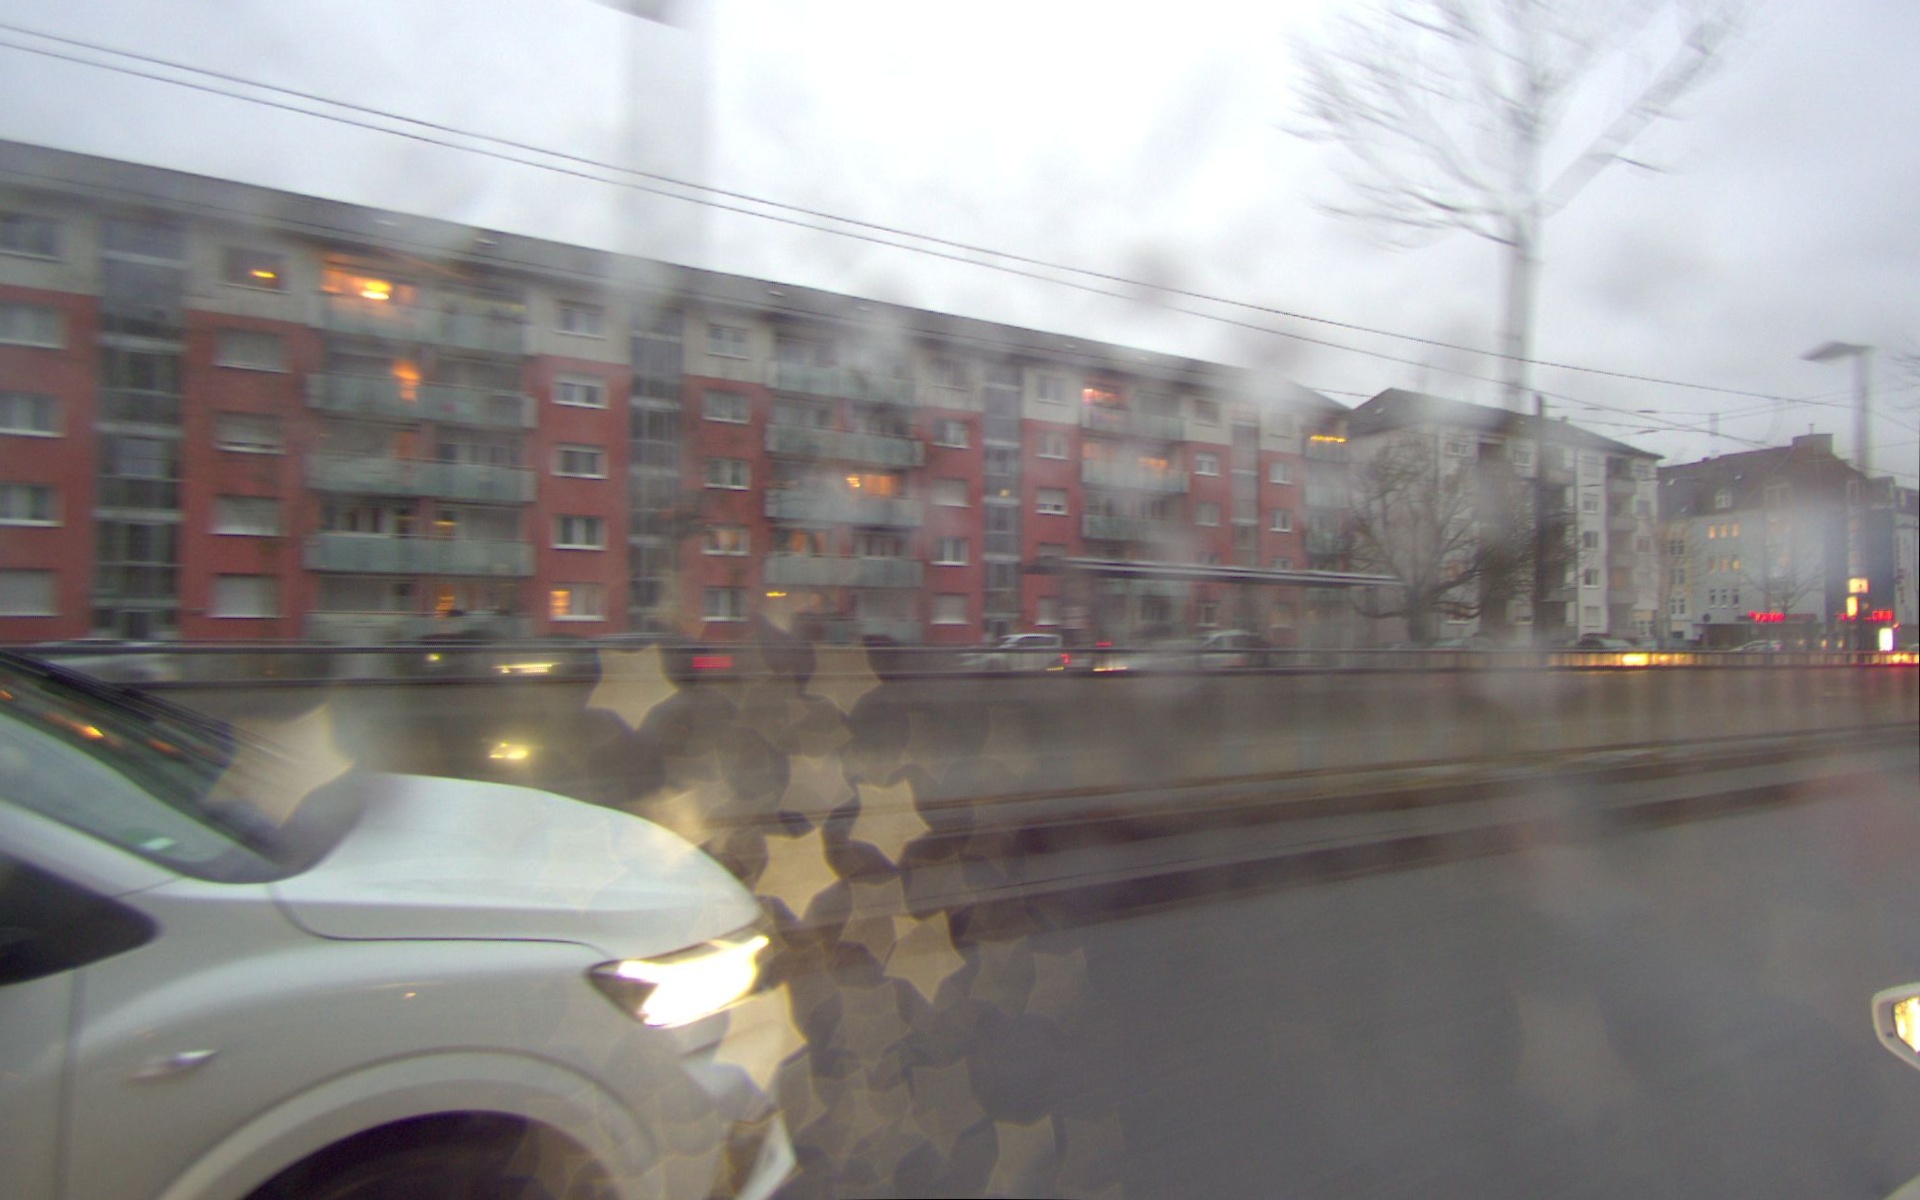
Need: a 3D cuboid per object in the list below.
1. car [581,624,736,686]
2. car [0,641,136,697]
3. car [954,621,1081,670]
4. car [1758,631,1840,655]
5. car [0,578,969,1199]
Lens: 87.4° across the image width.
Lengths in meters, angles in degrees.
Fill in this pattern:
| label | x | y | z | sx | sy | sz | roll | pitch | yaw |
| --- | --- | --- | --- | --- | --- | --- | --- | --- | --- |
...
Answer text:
| label | x | y | z | sx | sy | sz | roll | pitch | yaw |
| --- | --- | --- | --- | --- | --- | --- | --- | --- | --- |
| car | -7.348 | 1.343 | 24.516 | 3.335 | 1.376 | 1.579 | 3 | -1 | -30 |
| car | -20.096 | 1.509 | 22.070 | 2.817 | 1.115 | 1.257 | 2 | -1 | -26 |
| car | 2.005 | 1.565 | 34.683 | 4.102 | 1.564 | 1.716 | 3 | -1 | -30 |
| car | 54.444 | 2.796 | 65.234 | 1.681 | 1.384 | 3.775 | 3 | -1 | -33 |
| car | -2.131 | 0.695 | 1.782 | 3.950 | 1.485 | 1.701 | 3 | -1 | -28 |
